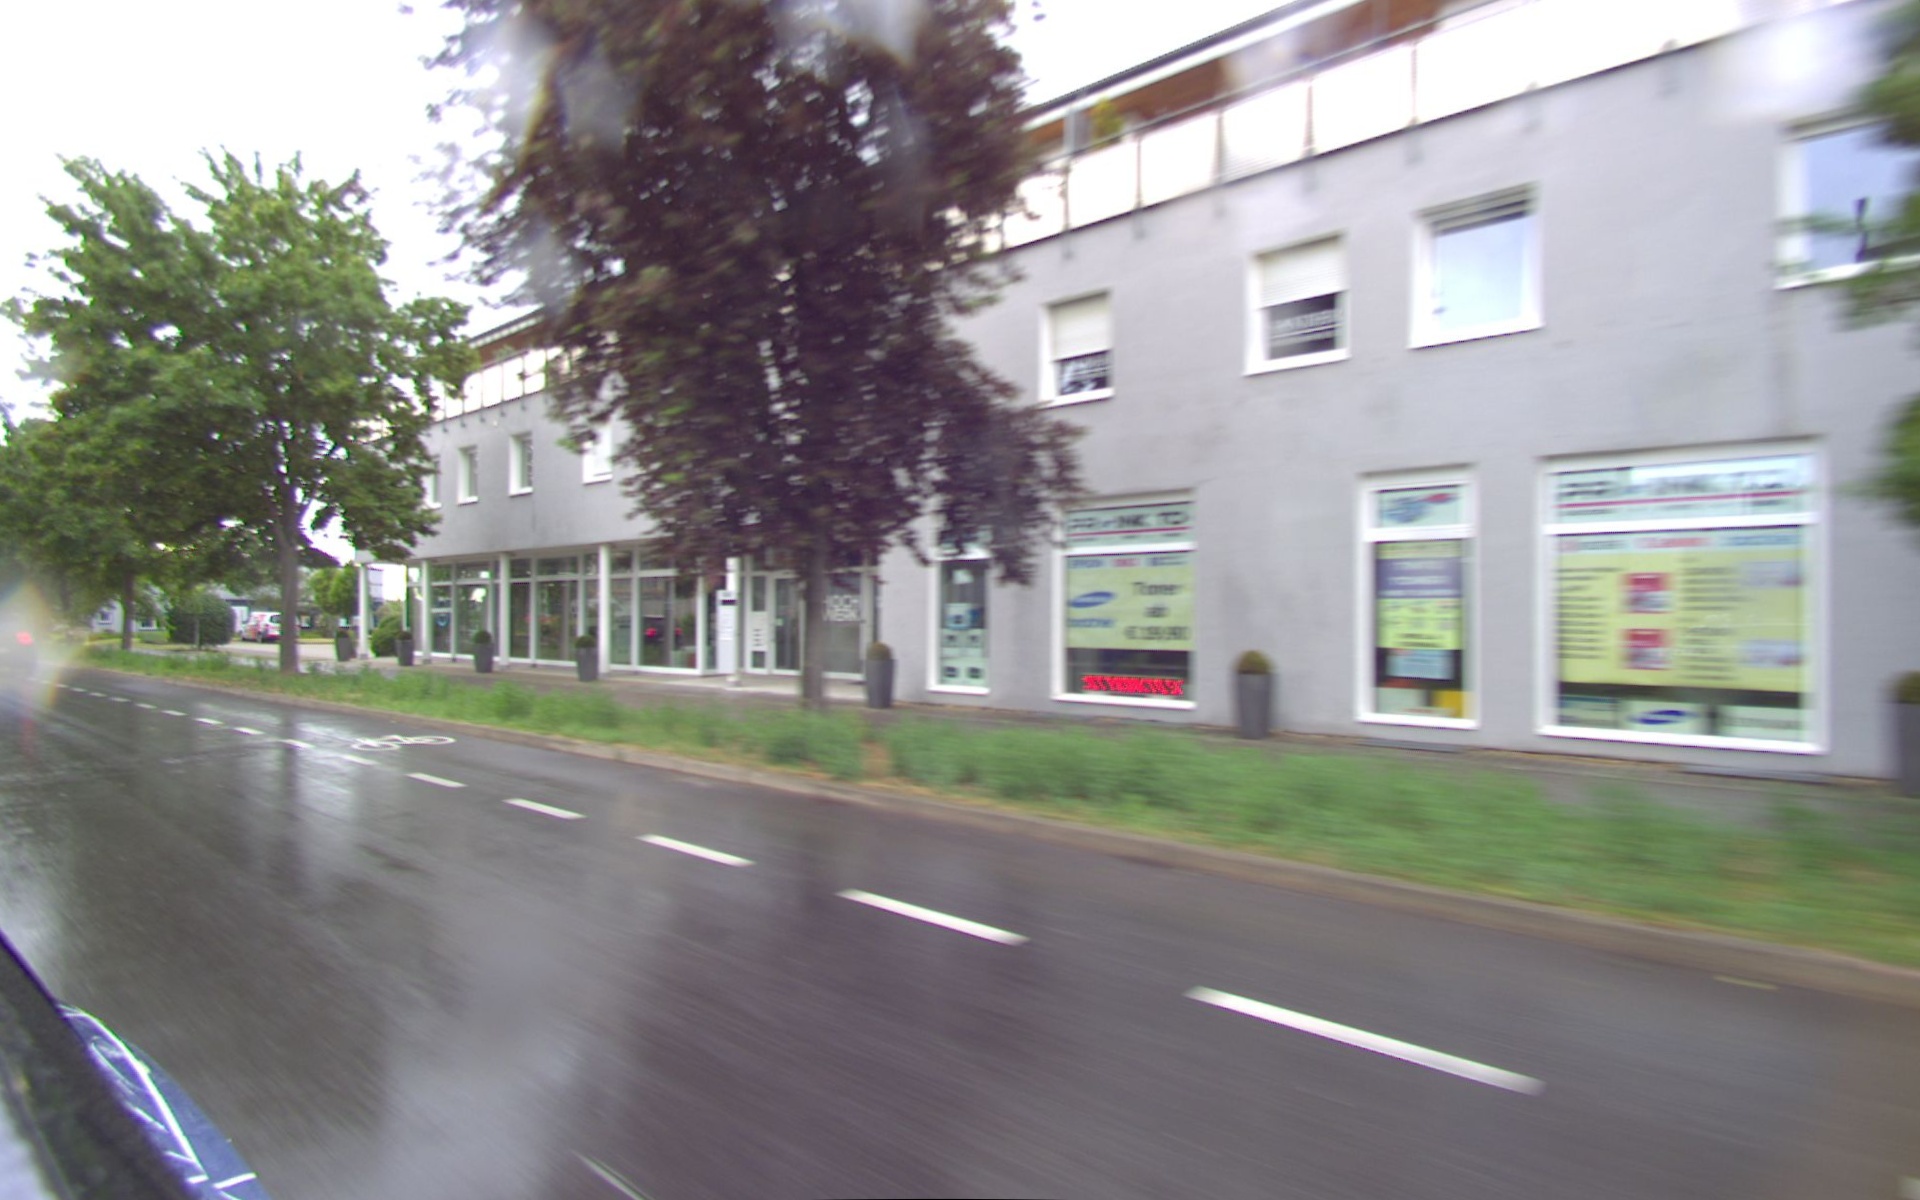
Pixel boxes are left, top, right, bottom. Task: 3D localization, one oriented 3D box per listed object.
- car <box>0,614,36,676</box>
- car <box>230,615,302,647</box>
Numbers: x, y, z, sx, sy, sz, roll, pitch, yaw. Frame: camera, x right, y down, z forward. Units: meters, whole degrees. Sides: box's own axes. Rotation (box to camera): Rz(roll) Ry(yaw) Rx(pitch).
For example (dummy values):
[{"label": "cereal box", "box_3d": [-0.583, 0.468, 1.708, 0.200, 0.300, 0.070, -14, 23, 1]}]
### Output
[{"label": "car", "box_3d": [-26.134, 1.214, 26.920, 4.499, 1.566, 1.831, -3, -1, 41]}, {"label": "car", "box_3d": [-42.761, 1.922, 62.340, 5.599, 1.836, 2.015, -2, -1, 37]}]
